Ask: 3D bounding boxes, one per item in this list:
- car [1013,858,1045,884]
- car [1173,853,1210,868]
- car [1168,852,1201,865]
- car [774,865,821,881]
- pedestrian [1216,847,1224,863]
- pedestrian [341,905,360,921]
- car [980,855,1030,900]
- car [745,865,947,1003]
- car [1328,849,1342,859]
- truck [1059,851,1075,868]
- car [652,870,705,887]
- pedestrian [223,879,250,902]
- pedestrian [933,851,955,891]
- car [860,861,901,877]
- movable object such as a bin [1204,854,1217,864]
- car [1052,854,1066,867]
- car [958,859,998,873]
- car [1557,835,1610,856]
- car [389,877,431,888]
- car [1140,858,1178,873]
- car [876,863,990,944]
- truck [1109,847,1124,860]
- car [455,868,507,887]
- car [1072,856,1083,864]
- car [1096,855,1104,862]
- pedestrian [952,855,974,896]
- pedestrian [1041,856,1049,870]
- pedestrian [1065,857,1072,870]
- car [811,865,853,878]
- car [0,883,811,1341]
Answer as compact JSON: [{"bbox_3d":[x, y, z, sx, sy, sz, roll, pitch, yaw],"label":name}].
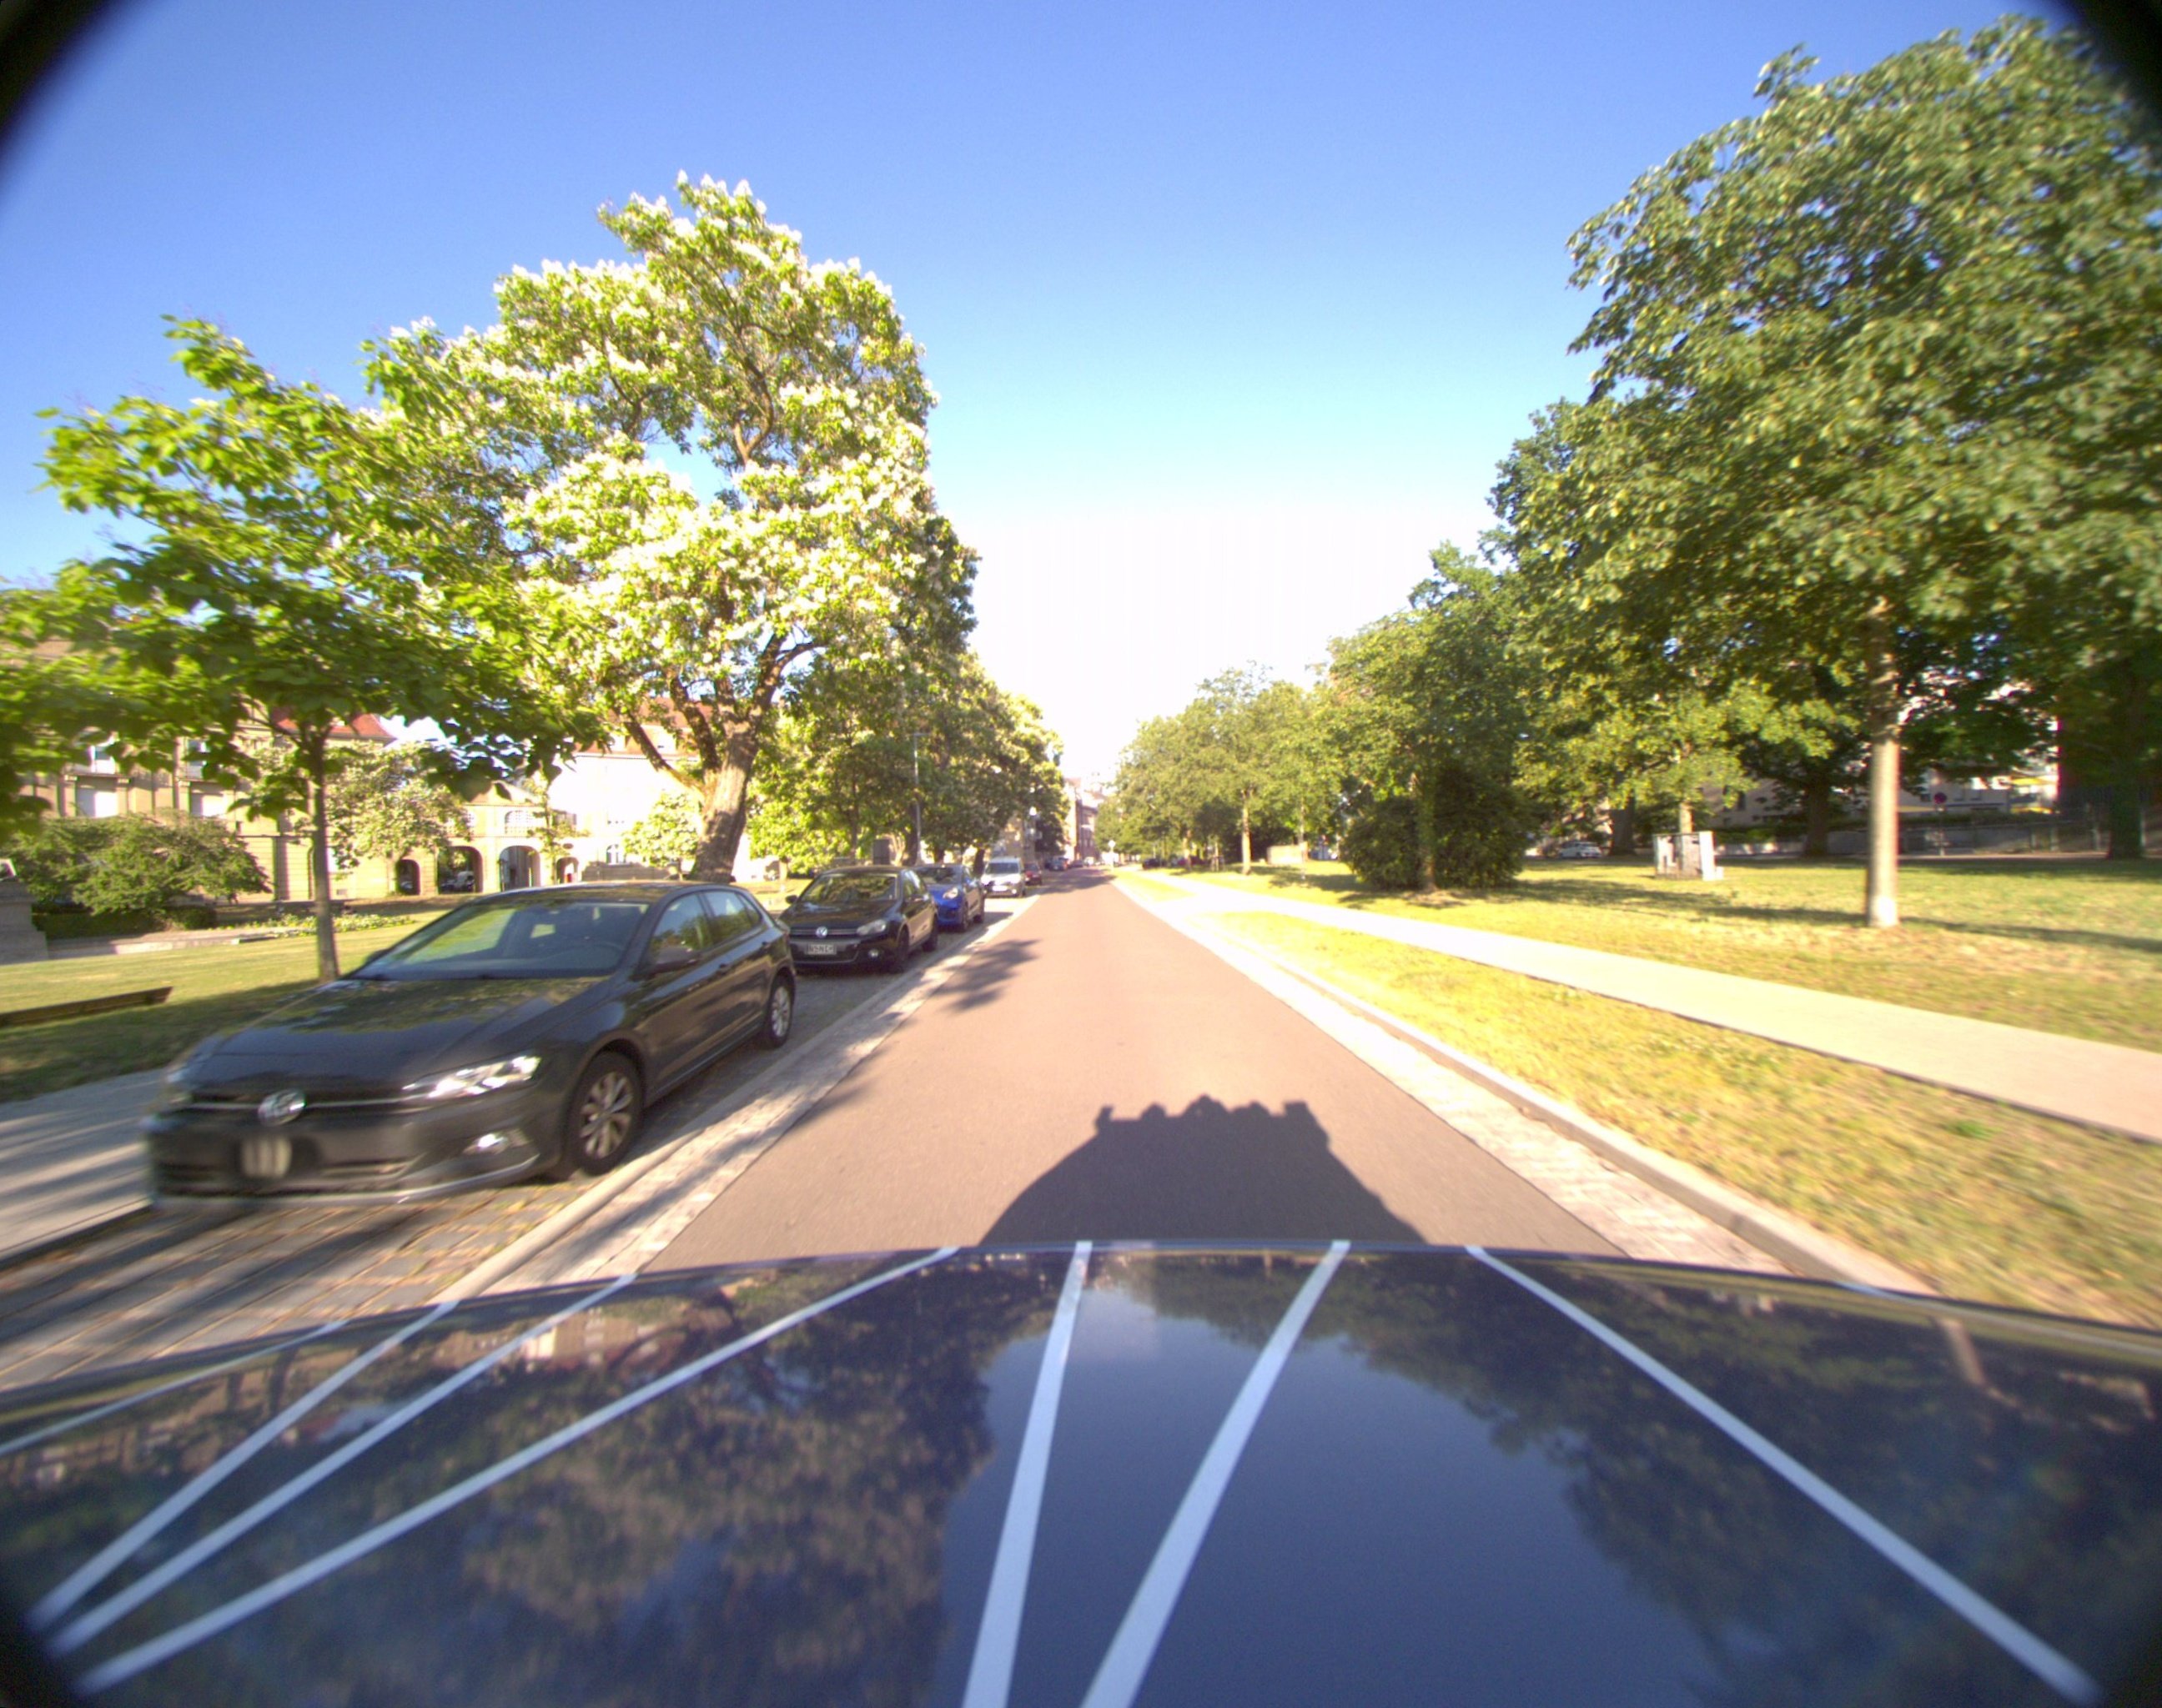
[{"bbox_3d":[-3.171,1.015,47.055,1.682,1.477,4.809,-2,0,0],"label":"car"},{"bbox_3d":[13.425,0.743,92.210,4.004,1.565,1.887,-3,2,-24],"label":"car"},{"bbox_3d":[13.417,0.549,98.433,3.851,1.622,1.836,-2,1,-24],"label":"car"},{"bbox_3d":[-29.180,1.927,78.318,4.443,1.409,1.563,-2,1,-23],"label":"car"},{"bbox_3d":[15.043,0.116,82.319,0.663,1.686,0.672,-3,0,2],"label":"pedestrian"},{"bbox_3d":[-42.865,3.460,44.575,0.576,0.876,0.678,-2,1,38],"label":"pedestrian"},{"bbox_3d":[-3.243,0.968,33.200,1.682,1.730,4.513,-2,0,0],"label":"car"},{"bbox_3d":[-3.267,1.013,11.528,1.736,1.542,4.421,-2,0,-1],"label":"car"},{"bbox_3d":[48.535,-0.025,145.176,1.888,1.565,4.601,-1,2,11],"label":"car"},{"bbox_3d":[-2.260,0.849,122.633,2.133,2.549,6.877,-1,0,3],"label":"truck"},{"bbox_3d":[-38.874,2.346,73.389,4.378,1.409,1.815,-2,1,-30],"label":"car"},{"bbox_3d":[-56.102,2.389,50.477,0.682,1.466,0.950,-1,1,2],"label":"pedestrian"},{"bbox_3d":[-6.035,0.732,33.465,0.727,1.726,0.731,-3,0,1],"label":"pedestrian"},{"bbox_3d":[-22.925,1.719,86.846,4.457,1.590,1.800,-2,1,-18],"label":"car"},{"bbox_3d":[14.032,0.514,82.326,1.332,0.984,0.950,-2,1,1],"label":"movable object such as a bin"},{"bbox_3d":[-2.945,0.864,100.673,1.707,1.616,4.349,0,-1,0],"label":"car"},{"bbox_3d":[-12.012,1.382,88.664,4.452,1.410,1.935,-2,1,-5],"label":"car"},{"bbox_3d":[42.430,-0.689,64.219,1.998,1.608,3.738,-3,0,0],"label":"car"},{"bbox_3d":[-99.142,4.194,112.317,1.814,1.409,4.380,-1,1,40],"label":"car"},{"bbox_3d":[9.252,1.307,90.336,4.004,1.565,1.887,-3,2,-24],"label":"car"},{"bbox_3d":[-3.303,1.038,17.780,1.736,1.542,4.275,-2,0,1],"label":"car"},{"bbox_3d":[9.829,-0.167,210.626,3.018,3.423,7.629,-1,0,12],"label":"truck"},{"bbox_3d":[-70.515,2.741,89.313,1.814,2.096,4.380,-1,1,38],"label":"car"},{"bbox_3d":[-0.702,1.168,146.051,1.610,1.349,3.549,-1,0,6],"label":"car"},{"bbox_3d":[4.597,1.098,183.333,1.582,1.499,3.848,-1,0,7],"label":"car"},{"bbox_3d":[-5.185,0.942,33.457,0.755,1.726,0.731,-3,0,1],"label":"pedestrian"},{"bbox_3d":[-4.832,1.143,101.441,0.733,1.819,0.555,-3,0,-36],"label":"pedestrian"},{"bbox_3d":[-1.688,1.288,101.137,0.778,1.759,0.955,-3,0,1],"label":"pedestrian"},{"bbox_3d":[-27.943,1.982,85.271,4.458,1.316,1.502,-2,1,-22],"label":"car"},{"bbox_3d":[-3.247,1.028,4.944,1.631,1.455,4.247,-2,0,-3],"label":"car"}]
